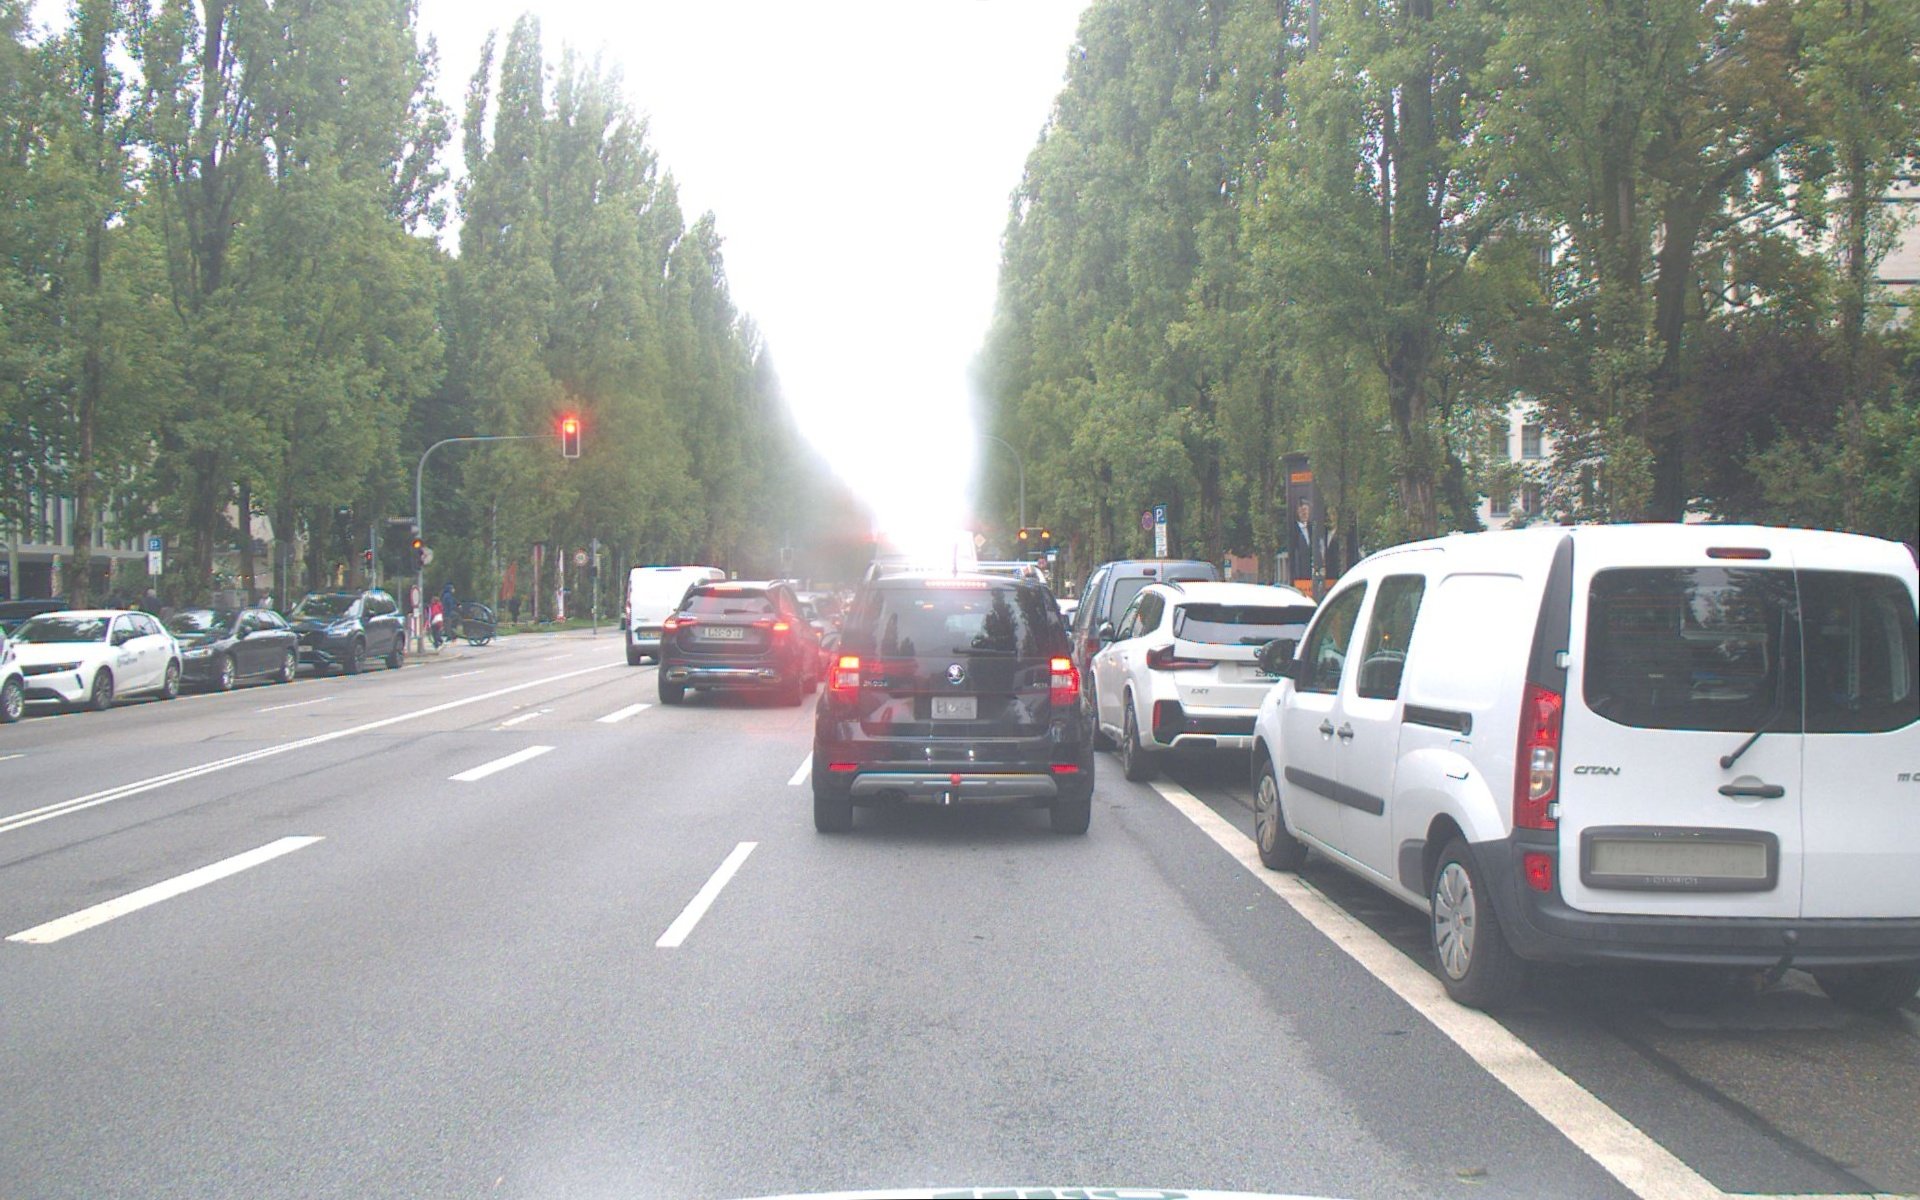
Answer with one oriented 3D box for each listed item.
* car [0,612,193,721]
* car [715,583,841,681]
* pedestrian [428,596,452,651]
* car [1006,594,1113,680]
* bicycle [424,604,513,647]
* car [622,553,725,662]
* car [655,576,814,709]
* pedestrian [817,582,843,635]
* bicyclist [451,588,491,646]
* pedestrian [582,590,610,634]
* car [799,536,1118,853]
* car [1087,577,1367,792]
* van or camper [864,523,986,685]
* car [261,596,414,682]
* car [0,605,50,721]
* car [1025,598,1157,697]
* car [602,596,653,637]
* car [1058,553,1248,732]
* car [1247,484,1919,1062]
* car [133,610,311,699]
[{"bbox_3d":[-13.158,0.945,24.844,1.592,1.413,4.162,-3,0,-5],"label":"car"},{"bbox_3d":[-3.183,0.518,29.649,1.954,1.588,3.998,-1,1,-3],"label":"car"},{"bbox_3d":[-14.531,0.654,46.227,0.507,1.511,0.536,-1,0,-1],"label":"pedestrian"},{"bbox_3d":[1.828,0.651,31.373,1.700,1.501,3.561,-1,1,-2],"label":"car"},{"bbox_3d":[-14.986,0.773,50.427,2.481,1.259,0.813,-1,0,8],"label":"bicycle"},{"bbox_3d":[-5.990,0.138,34.966,1.746,2.148,4.021,-1,0,-5],"label":"car"},{"bbox_3d":[-3.042,0.521,23.039,1.745,1.648,4.023,1,0,-2],"label":"car"},{"bbox_3d":[-5.098,0.335,64.955,0.867,2.049,1.013,-1,0,1],"label":"pedestrian"},{"bbox_3d":[-14.902,0.502,50.422,0.886,1.752,0.825,-1,0,8],"label":"bicyclist"},{"bbox_3d":[-14.807,0.490,67.296,0.861,1.795,0.879,-1,0,8],"label":"pedestrian"},{"bbox_3d":[-0.052,0.545,11.646,1.818,1.801,3.999,1,0,-2],"label":"car"},{"bbox_3d":[2.203,0.622,14.731,1.706,1.620,4.210,-1,1,-2],"label":"car"},{"bbox_3d":[-0.676,0.049,28.650,1.936,2.593,4.022,-1,0,-3],"label":"van or camper"},{"bbox_3d":[-13.553,0.795,36.307,1.813,1.683,4.692,-3,0,-4],"label":"car"},{"bbox_3d":[-12.968,0.850,20.806,1.399,1.472,2.965,-4,0,-2],"label":"car"},{"bbox_3d":[1.995,0.697,26.075,1.700,1.411,3.561,-1,1,-2],"label":"car"},{"bbox_3d":[-15.183,0.735,75.585,1.654,1.814,3.774,0,0,-2],"label":"car"},{"bbox_3d":[2.219,0.444,20.006,1.700,1.928,4.023,-1,0,-2],"label":"car"},{"bbox_3d":[2.671,0.550,7.625,1.814,1.914,4.166,-1,1,-2],"label":"car"},{"bbox_3d":[-13.425,0.944,30.361,1.591,1.413,4.163,-3,0,-4],"label":"car"}]
